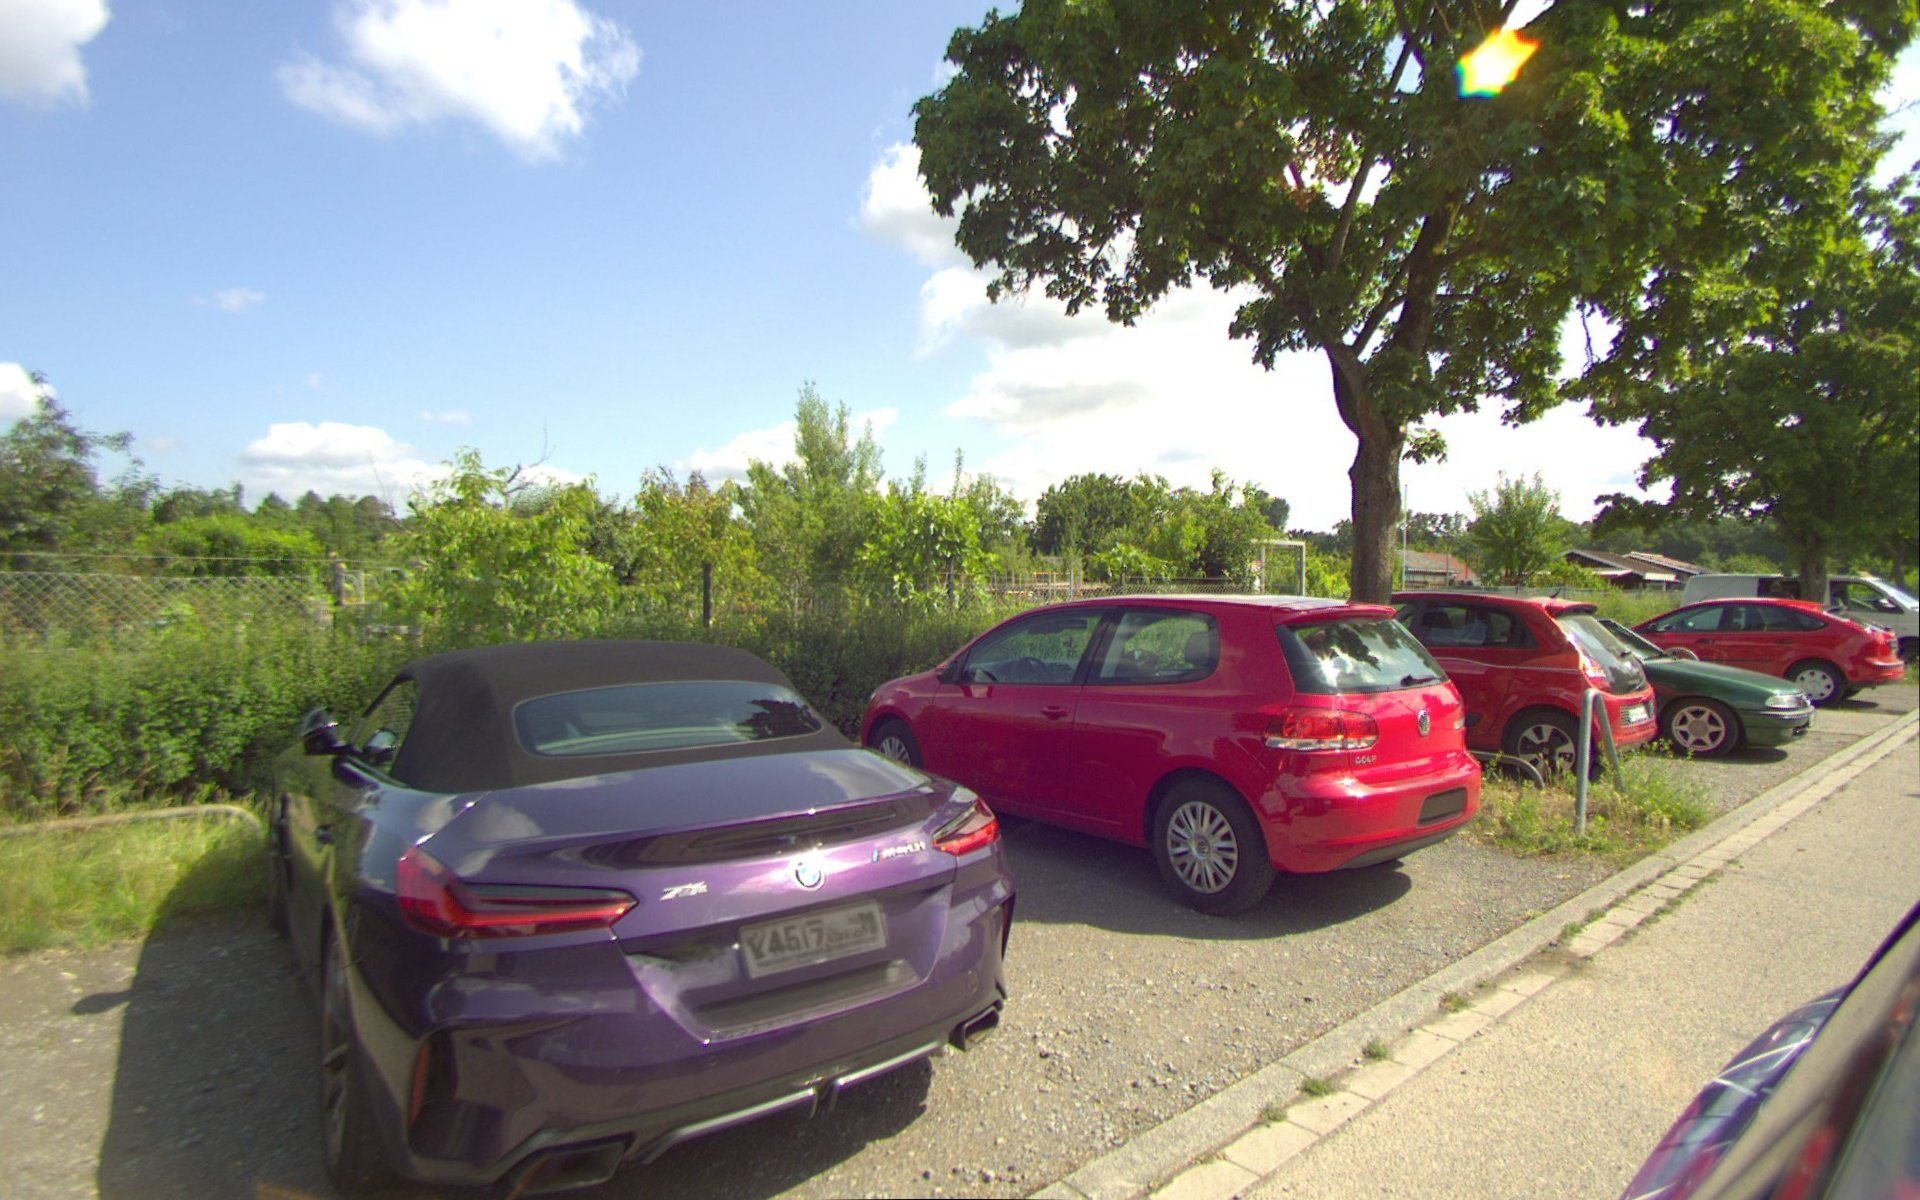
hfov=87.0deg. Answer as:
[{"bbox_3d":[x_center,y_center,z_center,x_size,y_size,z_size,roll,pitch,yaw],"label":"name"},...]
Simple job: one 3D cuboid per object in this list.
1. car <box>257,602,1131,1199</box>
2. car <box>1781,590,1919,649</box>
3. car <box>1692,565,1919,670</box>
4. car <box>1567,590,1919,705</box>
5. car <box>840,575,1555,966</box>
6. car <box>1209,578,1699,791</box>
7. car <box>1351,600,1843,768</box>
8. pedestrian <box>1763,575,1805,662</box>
[{"bbox_3d":[-1.450,0.743,3.907,1.922,1.441,3.920,-1,0,-37],"label":"car"},{"bbox_3d":[24.940,0.490,26.943,1.967,1.484,4.582,0,1,-43],"label":"car"},{"bbox_3d":[17.909,0.298,20.495,2.075,1.910,4.642,0,2,-42],"label":"car"},{"bbox_3d":[12.094,0.636,15.734,1.844,1.523,4.192,-1,0,-39],"label":"car"},{"bbox_3d":[1.068,0.666,6.146,1.820,1.539,3.998,-1,0,-37],"label":"car"},{"bbox_3d":[4.483,0.630,9.607,1.837,1.593,3.770,-1,0,-41],"label":"car"},{"bbox_3d":[6.750,0.744,11.064,1.877,1.446,4.241,-1,0,-44],"label":"car"},{"bbox_3d":[16.538,0.357,20.316,0.465,1.694,0.524,-2,3,-40],"label":"pedestrian"}]
